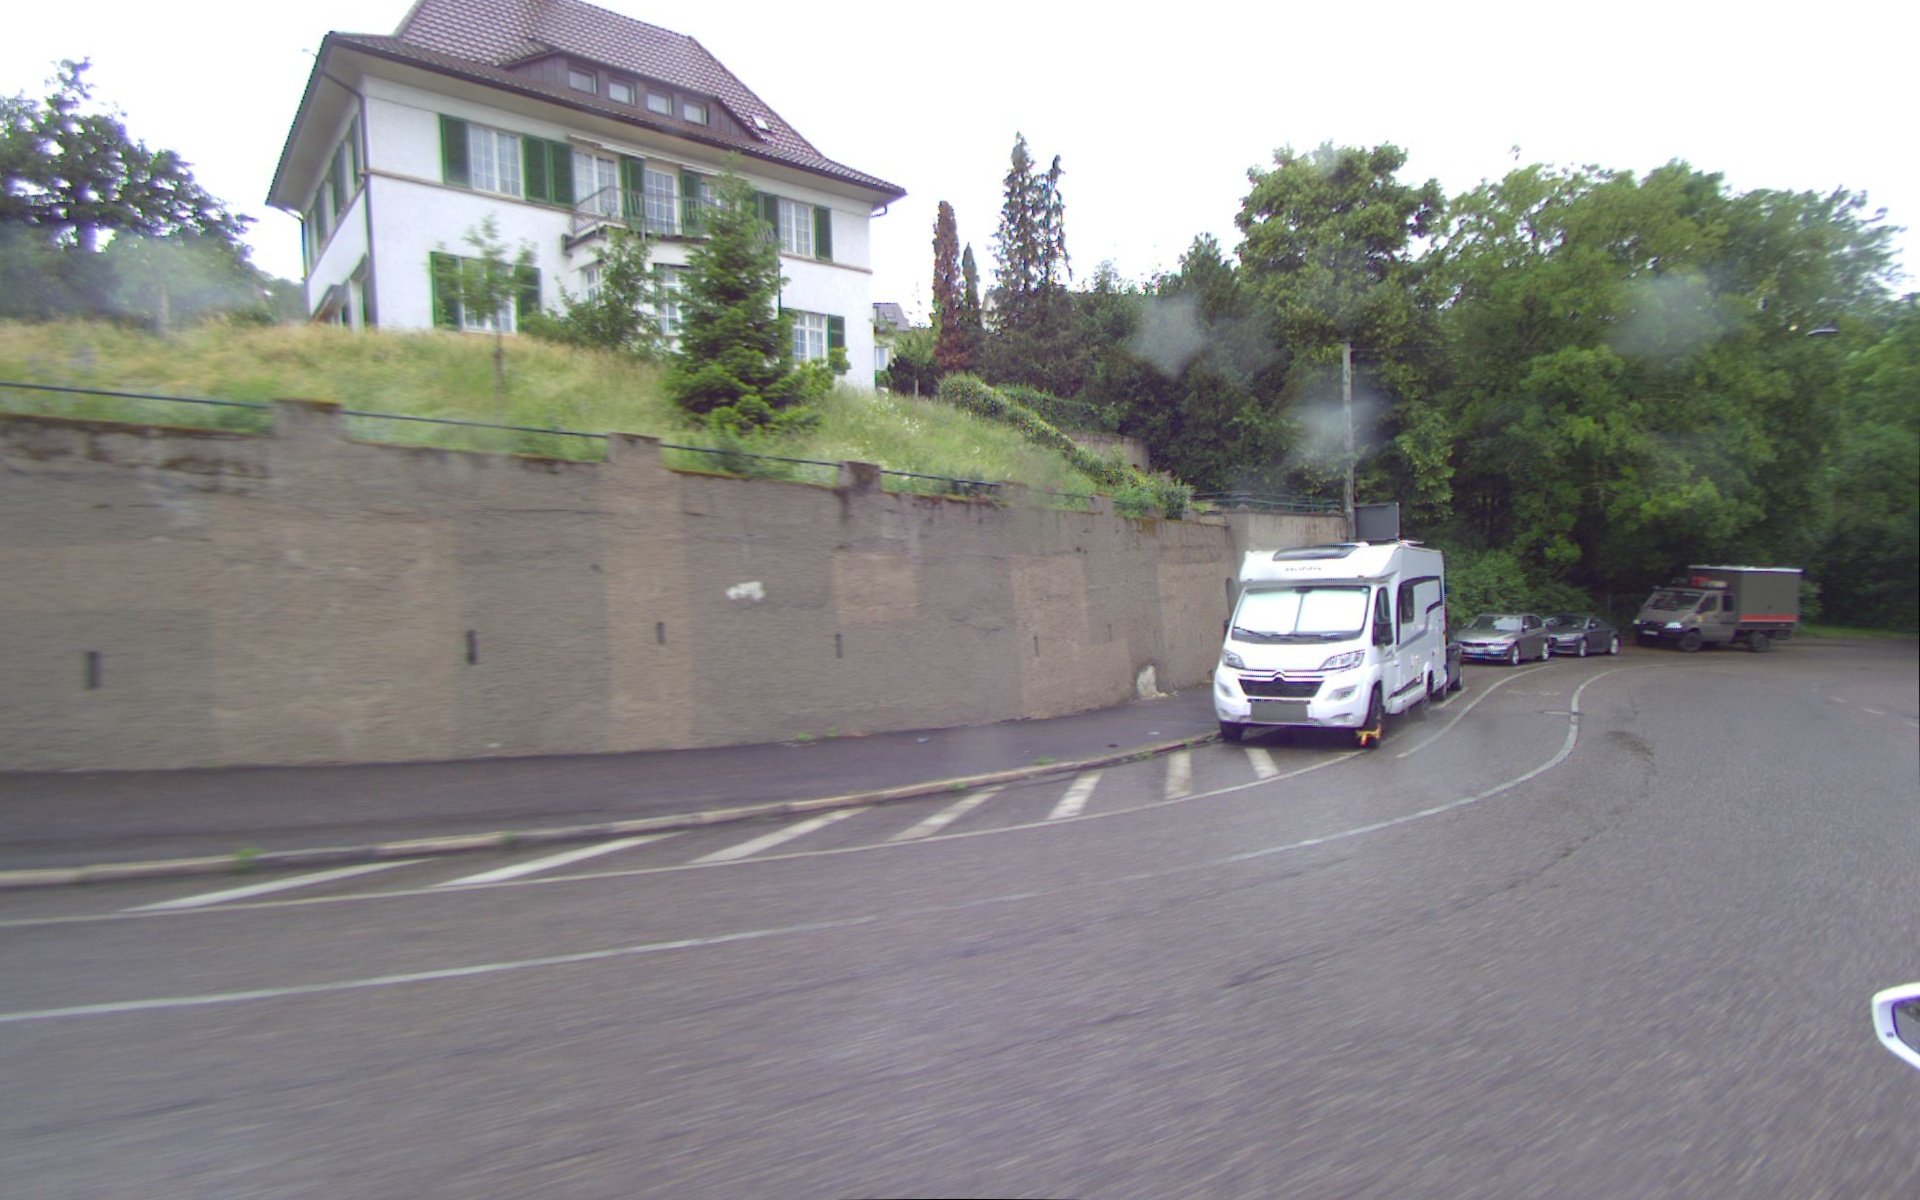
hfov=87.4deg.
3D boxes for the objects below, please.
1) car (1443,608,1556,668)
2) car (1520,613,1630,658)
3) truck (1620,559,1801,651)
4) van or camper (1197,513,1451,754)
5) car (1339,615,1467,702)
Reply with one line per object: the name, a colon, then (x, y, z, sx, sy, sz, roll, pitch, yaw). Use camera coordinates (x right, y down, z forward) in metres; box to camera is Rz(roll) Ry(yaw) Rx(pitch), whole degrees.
car: (15.953, 1.052, 29.614, 4.499, 1.519, 1.682, -1, 2, -45)
car: (20.491, 1.143, 33.411, 4.207, 1.293, 1.686, 0, 2, -38)
truck: (27.900, 0.197, 37.327, 6.514, 3.145, 2.029, 1, 4, -21)
van or camper: (5.846, 0.433, 15.309, 2.125, 2.826, 7.031, -1, -1, 32)
car: (9.186, 1.099, 20.612, 1.762, 1.518, 4.359, -1, 0, 33)
